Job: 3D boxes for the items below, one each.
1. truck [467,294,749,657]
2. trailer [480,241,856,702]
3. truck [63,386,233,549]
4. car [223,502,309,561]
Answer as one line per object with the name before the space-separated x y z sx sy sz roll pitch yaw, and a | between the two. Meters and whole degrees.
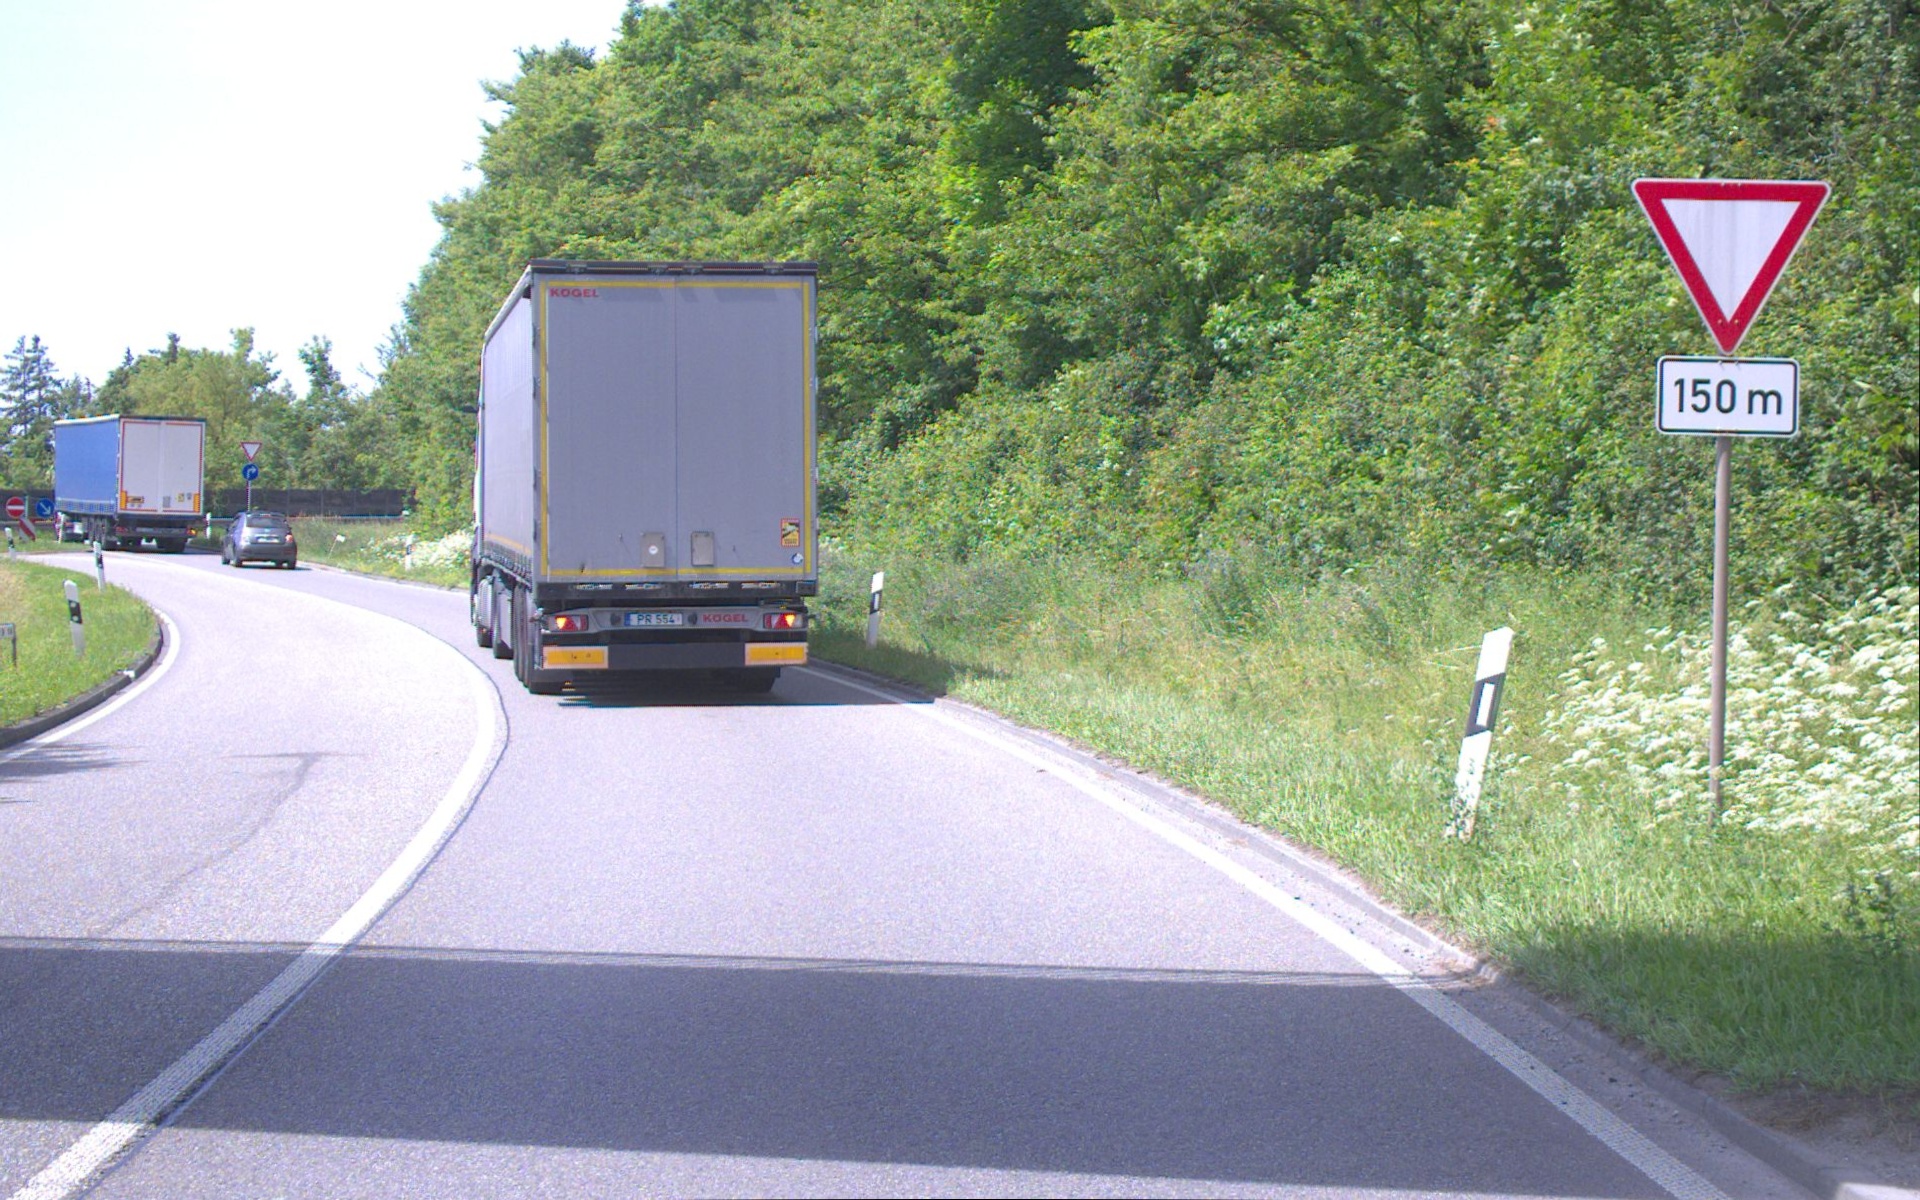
truck | -4.626 -1.504 43.826 3.152 4.210 7.124 1 1 -9
trailer | -3.475 -1.249 36.835 3.026 4.021 13.356 0 1 -9
truck | -25.704 -4.085 108.072 3.827 4.728 16.209 0 2 -18
car | -18.514 -1.848 91.622 1.665 1.481 4.002 0 2 -20
